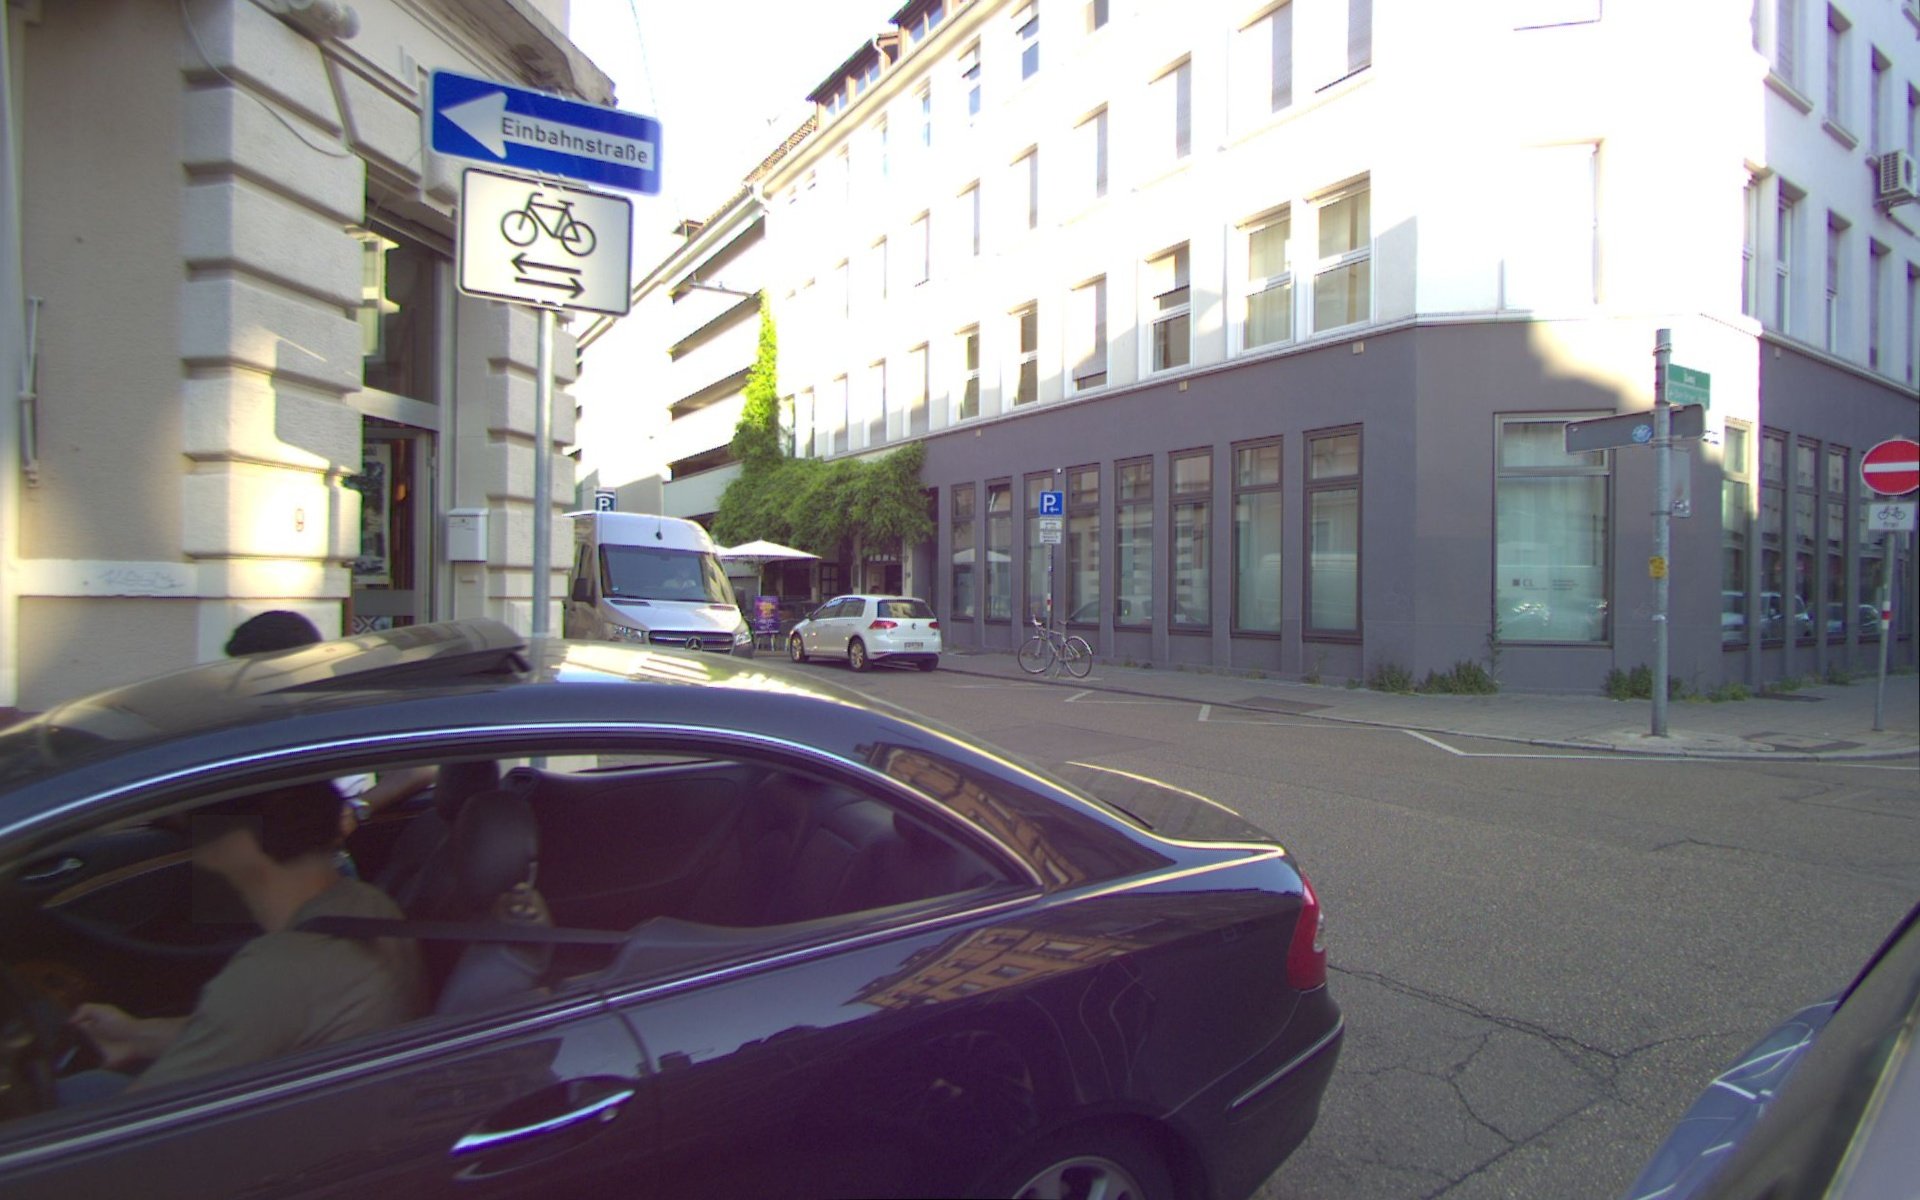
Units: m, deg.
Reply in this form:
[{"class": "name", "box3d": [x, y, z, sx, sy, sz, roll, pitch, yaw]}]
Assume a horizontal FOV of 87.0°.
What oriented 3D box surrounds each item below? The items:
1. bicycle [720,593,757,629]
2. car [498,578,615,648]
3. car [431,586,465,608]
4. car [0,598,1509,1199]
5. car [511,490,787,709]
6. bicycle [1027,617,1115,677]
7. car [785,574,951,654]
[{"class": "bicycle", "box3d": [-7.479, 0.365, 34.133, 0.632, 1.175, 1.795, 0, 1, -33]}, {"class": "car", "box3d": [-9.886, 0.246, 24.614, 1.756, 1.543, 4.000, -2, 2, -35]}, {"class": "car", "box3d": [-38.230, -0.249, 75.503, 1.960, 1.435, 4.563, 2, 0, -31]}, {"class": "car", "box3d": [-1.260, 0.727, 1.868, 4.635, 1.426, 1.892, 0, 1, -31]}, {"class": "car", "box3d": [-4.771, -0.051, 14.627, 2.240, 2.470, 6.207, 0, 1, -32]}, {"class": "bicycle", "box3d": [1.856, 0.767, 17.186, 0.586, 0.916, 1.645, 0, 0, -33]}, {"class": "car", "box3d": [-1.947, 0.218, 20.324, 1.631, 1.431, 3.883, 1, 1, -34]}]
